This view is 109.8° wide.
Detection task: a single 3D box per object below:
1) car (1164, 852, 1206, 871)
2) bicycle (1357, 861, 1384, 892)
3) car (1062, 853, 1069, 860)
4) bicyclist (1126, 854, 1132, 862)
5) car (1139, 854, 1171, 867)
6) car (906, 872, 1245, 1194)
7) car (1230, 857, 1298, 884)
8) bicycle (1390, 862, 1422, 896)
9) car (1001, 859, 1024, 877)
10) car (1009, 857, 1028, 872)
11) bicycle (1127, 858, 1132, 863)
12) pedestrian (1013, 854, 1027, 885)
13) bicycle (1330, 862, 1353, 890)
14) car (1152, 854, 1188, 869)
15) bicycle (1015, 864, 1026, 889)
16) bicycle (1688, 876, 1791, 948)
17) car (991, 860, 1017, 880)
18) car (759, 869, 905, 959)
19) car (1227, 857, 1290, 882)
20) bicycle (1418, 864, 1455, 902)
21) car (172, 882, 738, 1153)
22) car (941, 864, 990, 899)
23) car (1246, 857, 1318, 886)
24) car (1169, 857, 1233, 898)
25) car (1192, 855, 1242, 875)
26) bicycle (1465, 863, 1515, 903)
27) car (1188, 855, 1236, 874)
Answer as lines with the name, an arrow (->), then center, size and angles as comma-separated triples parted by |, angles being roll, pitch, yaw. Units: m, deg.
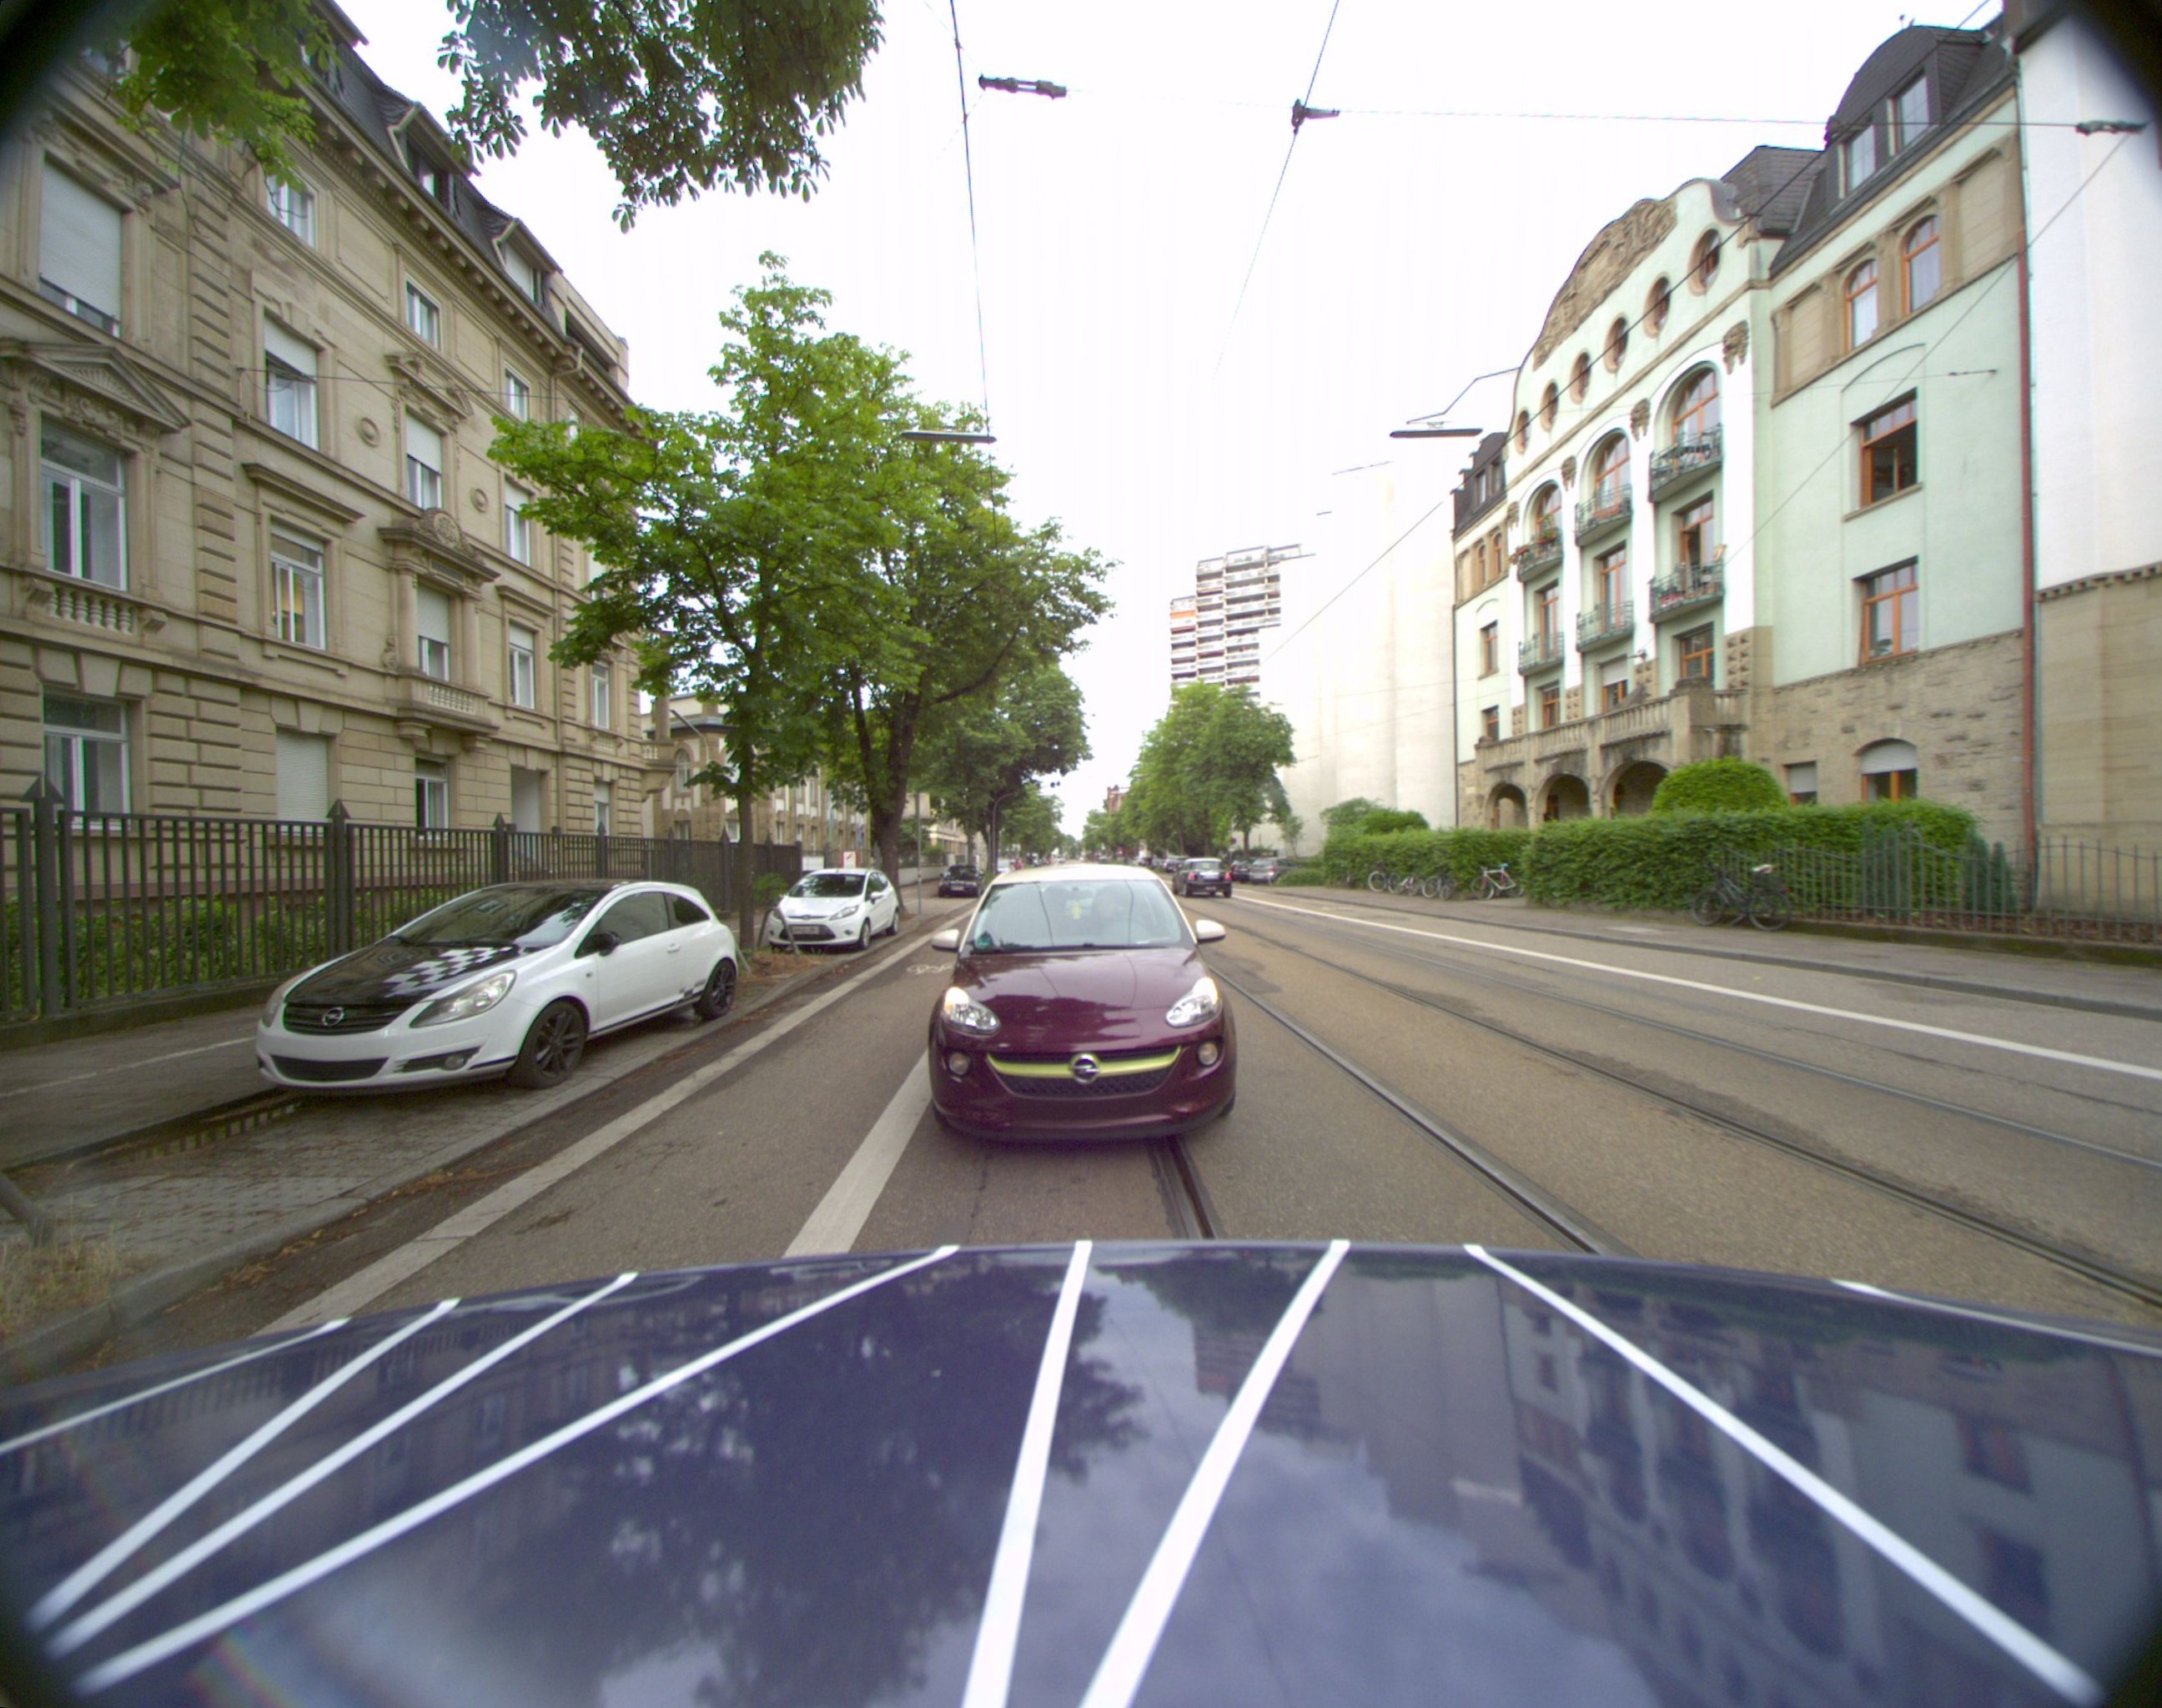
car -> 9.489, 0.641, 69.044 | 4.008, 1.611, 1.690 | -1, 0, -45
bicycle -> 10.608, 0.819, 27.905 | 0.360, 1.077, 1.546 | -1, 0, -1
car -> -4.730, 0.693, 229.380 | 1.998, 2.002, 4.000 | -2, 1, 1
bicyclist -> 7.324, 0.586, 116.131 | 0.752, 1.247, 0.875 | -1, 0, -2
car -> 9.054, 0.788, 92.287 | 4.008, 1.611, 1.690 | -1, 0, -45
car -> -0.029, 0.919, 5.611 | 1.606, 1.427, 3.776 | -2, 0, 0
car -> 10.381, 0.886, 42.949 | 4.008, 1.395, 1.690 | -1, 0, -41
bicycle -> 10.664, 0.807, 24.960 | 0.360, 1.077, 1.546 | -1, 0, -1
car -> -5.656, 1.120, 63.041 | 1.606, 1.416, 3.836 | 1, 0, -1
car -> -6.172, 1.001, 75.460 | 1.606, 1.362, 3.836 | 1, 0, -1
bicycle -> 7.361, 0.940, 116.088 | 0.568, 0.784, 1.890 | -1, 0, -2
pedestrian -> -3.129, 0.782, 38.977 | 0.684, 1.541, 0.704 | -1, 1, -1
bicycle -> 10.434, 0.863, 30.519 | 0.360, 1.077, 1.546 | -1, 0, -1
car -> 9.676, 0.802, 82.467 | 4.008, 1.611, 1.690 | -1, 0, -45
bicycle -> -3.101, 1.139, 39.099 | 0.414, 1.197, 1.706 | -1, 0, -1
bicycle -> 10.983, 0.935, 12.735 | 0.360, 1.077, 1.546 | -1, 0, -1
car -> -5.616, 1.114, 55.698 | 1.606, 1.362, 3.836 | 1, 0, -1
car -> -4.640, 1.051, 14.721 | 1.631, 1.427, 3.764 | 1, 0, -1
car -> 10.799, 0.932, 46.126 | 4.008, 1.395, 1.690 | -1, 0, -41
bicycle -> 10.727, 0.850, 22.936 | 0.360, 1.077, 1.546 | -1, 0, -1
car -> -4.520, 1.029, 6.340 | 1.606, 1.427, 3.776 | 1, 0, 0
car -> -4.982, 1.157, 33.255 | 1.606, 1.362, 3.836 | 1, 0, -1
car -> 10.633, 0.895, 40.121 | 4.008, 1.395, 1.690 | -1, 0, -41
car -> 4.414, 0.821, 28.349 | 1.613, 1.414, 3.485 | 0, 0, -4
car -> 10.101, 0.804, 56.283 | 4.008, 1.387, 1.690 | -1, 0, -45
bicycle -> 11.671, 0.832, 21.686 | 1.205, 1.077, 0.300 | -3, 1, 0
car -> 10.257, 0.784, 59.337 | 4.008, 1.434, 1.690 | -1, 0, -45
